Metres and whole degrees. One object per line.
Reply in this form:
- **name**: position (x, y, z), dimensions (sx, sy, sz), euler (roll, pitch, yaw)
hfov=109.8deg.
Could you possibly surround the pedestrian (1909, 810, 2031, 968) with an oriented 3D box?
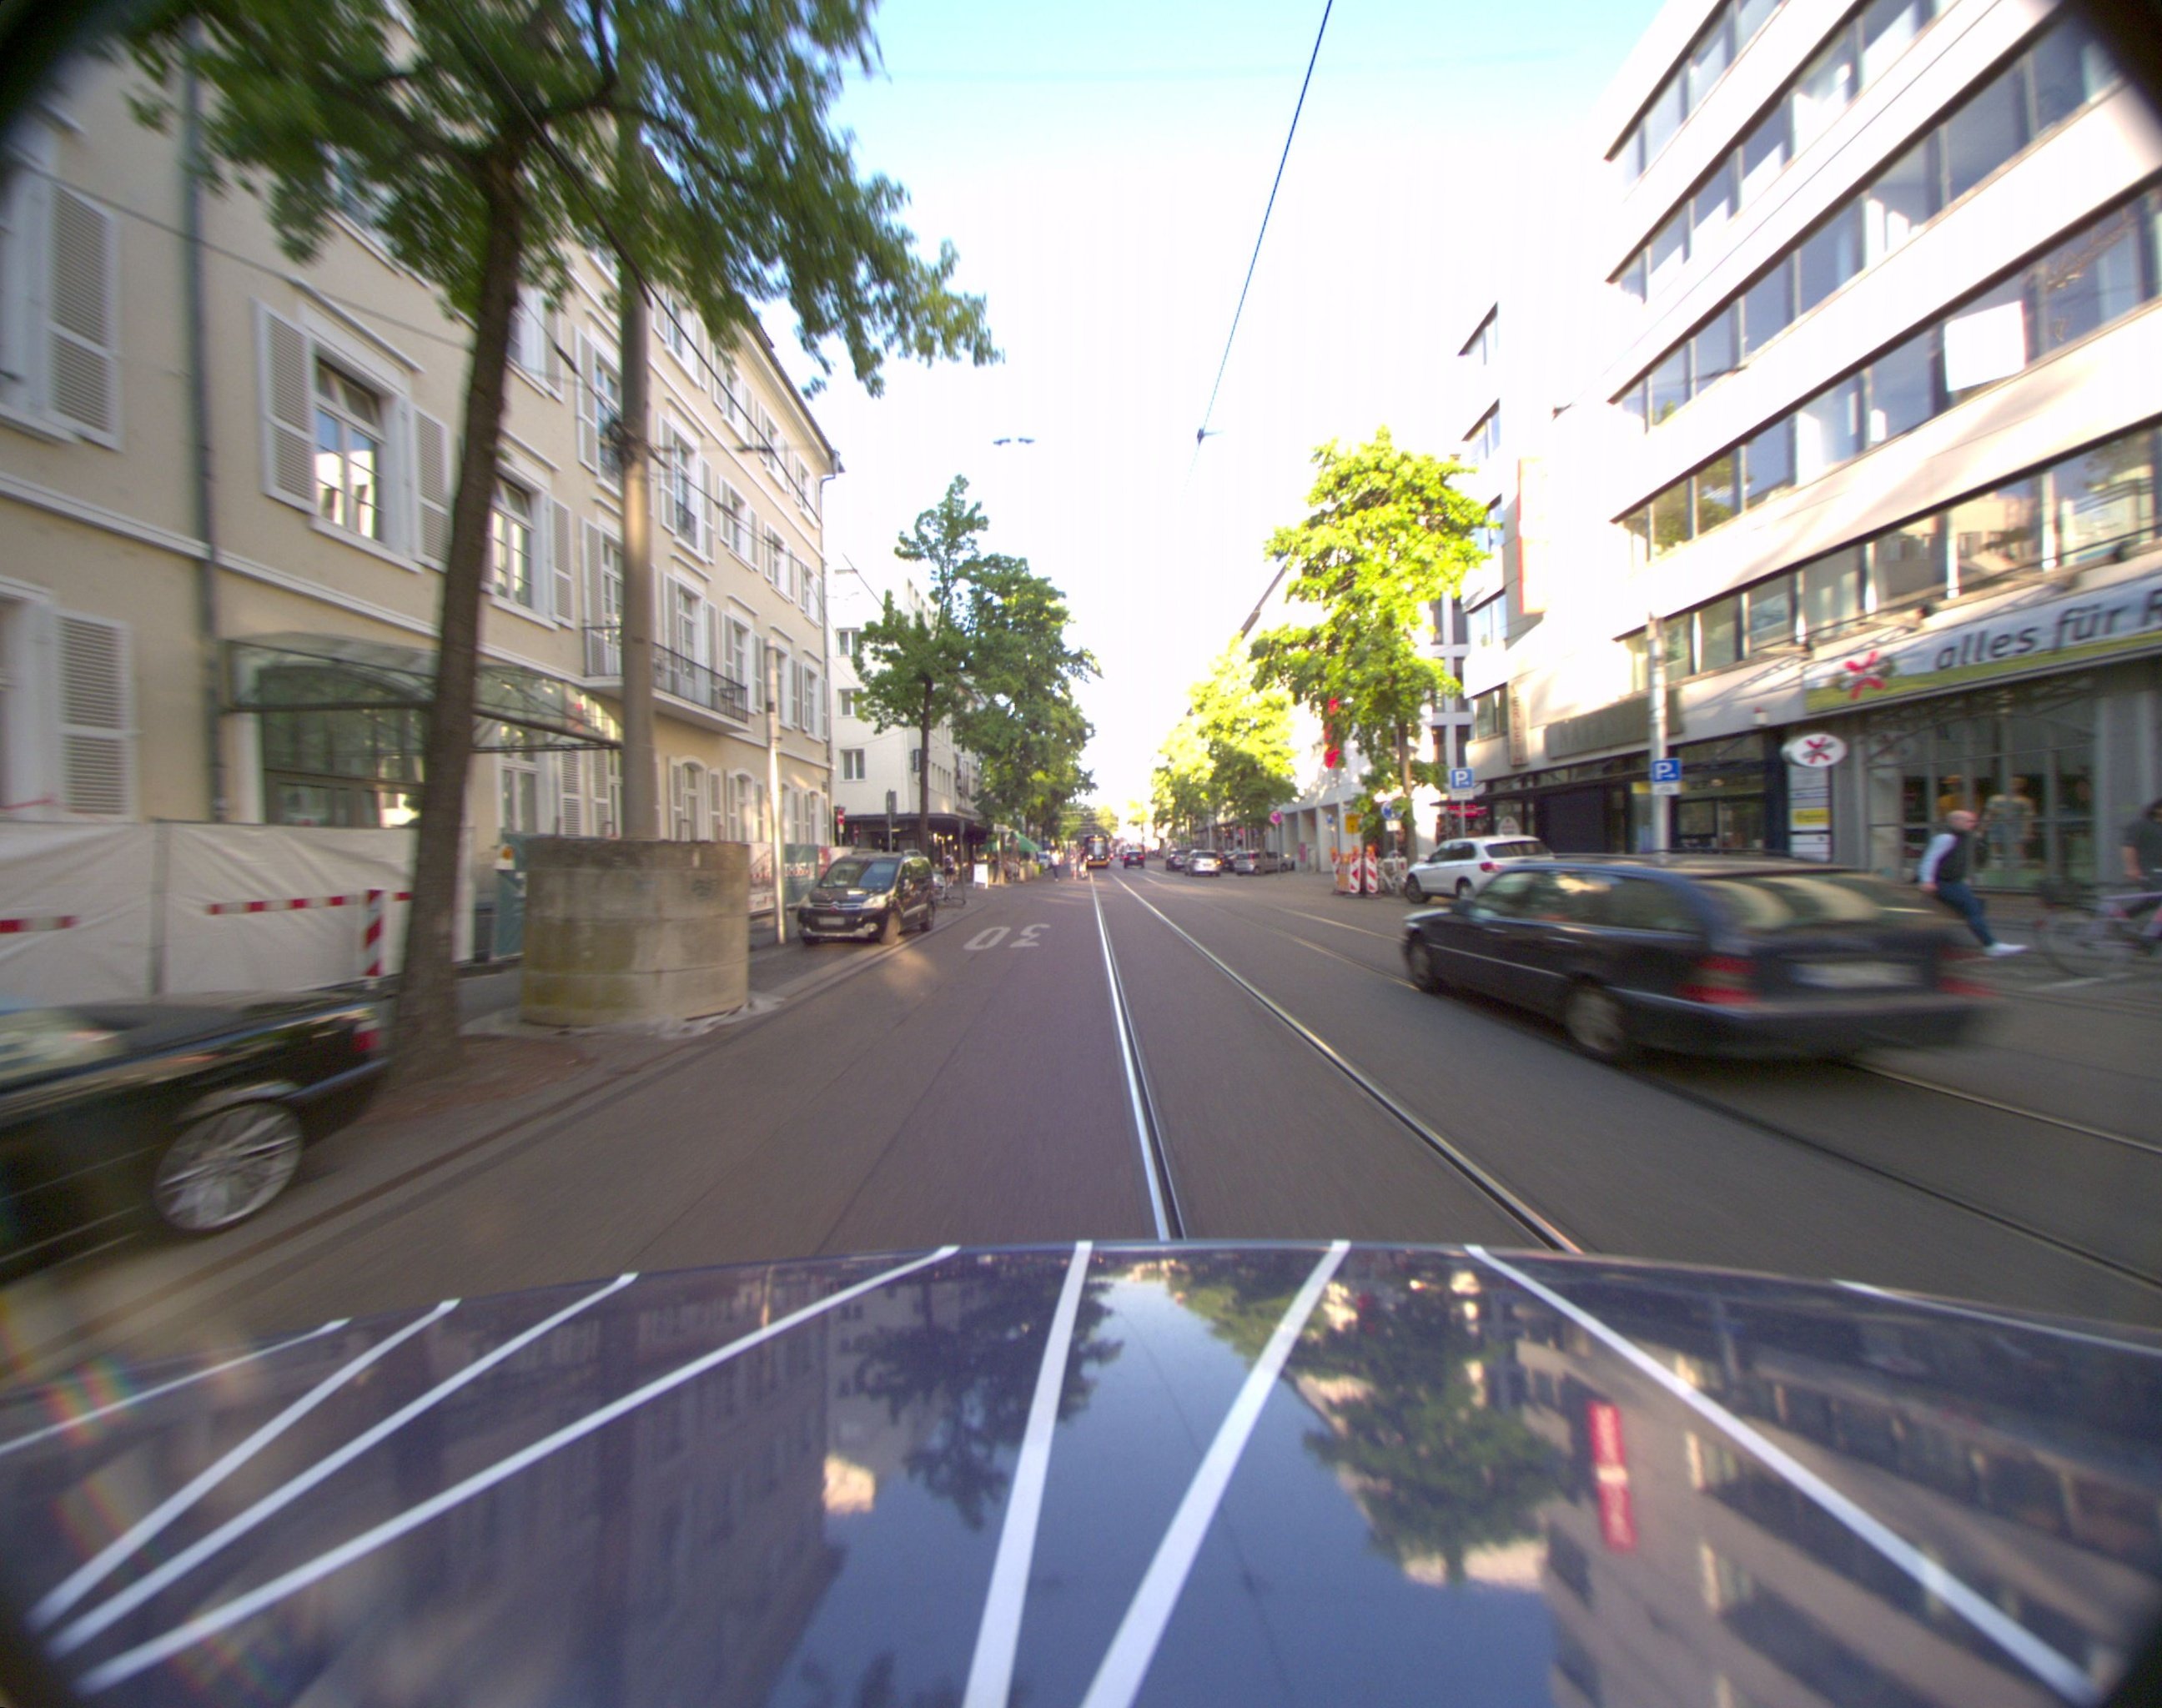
- **pedestrian**: position (10.500, 0.386, 9.015), dimensions (0.829, 1.756, 0.855), euler (-1, 1, 43)

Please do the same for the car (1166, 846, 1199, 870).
- **car**: position (7.968, 0.285, 59.881), dimensions (2.039, 1.796, 4.200), euler (-1, 0, 0)

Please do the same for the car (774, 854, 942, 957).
- **car**: position (-4.346, 0.908, 15.610), dimensions (1.956, 1.782, 4.316), euler (0, 1, 4)

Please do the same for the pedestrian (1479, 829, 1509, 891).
- **pedestrian**: position (13.574, 0.193, 24.995), dimensions (0.616, 2.002, 0.592), euler (-2, 1, -1)

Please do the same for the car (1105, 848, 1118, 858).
- **car**: position (5.887, -0.245, 148.105), dimensions (2.218, 1.849, 3.999), euler (-2, 0, -1)

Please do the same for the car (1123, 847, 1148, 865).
- **car**: position (5.235, 0.183, 73.499), dimensions (2.039, 1.677, 4.200), euler (-2, 0, 0)

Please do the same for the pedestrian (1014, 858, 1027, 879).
- **pedestrian**: position (-3.835, 0.916, 47.912), dimensions (0.716, 1.321, 0.624), euler (-2, 1, 2)

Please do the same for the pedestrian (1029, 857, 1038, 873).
- **pedestrian**: position (-4.017, 0.921, 64.525), dimensions (0.716, 1.321, 0.624), euler (-2, 1, 2)

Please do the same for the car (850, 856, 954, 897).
- **car**: position (-7.819, 0.973, 33.384), dimensions (3.937, 1.600, 1.867), euler (-2, 2, 7)

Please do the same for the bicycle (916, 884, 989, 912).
- **bicycle**: position (-4.048, 1.371, 24.125), dimensions (1.753, 0.744, 1.566), euler (0, 1, 18)

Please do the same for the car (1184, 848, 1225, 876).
- **car**: position (7.614, 0.474, 47.207), dimensions (1.889, 1.602, 4.200), euler (0, 0, 0)

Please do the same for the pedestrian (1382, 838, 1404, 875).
- **pedestrian**: position (14.439, 0.116, 35.179), dimensions (0.725, 1.636, 0.611), euler (-2, 1, 2)

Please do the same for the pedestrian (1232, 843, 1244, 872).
- **pedestrian**: position (10.674, 0.232, 51.740), dimensions (0.656, 1.922, 0.723), euler (-1, 1, 2)

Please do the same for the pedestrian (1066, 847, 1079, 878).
- **pedestrian**: position (-0.503, 0.517, 46.563), dimensions (0.672, 1.922, 0.873), euler (-1, 1, 2)

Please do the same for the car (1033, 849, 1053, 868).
- **car**: position (-3.856, 0.384, 77.724), dimensions (2.003, 1.831, 4.966), euler (0, 1, -3)

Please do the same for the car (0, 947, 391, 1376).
- **car**: position (-4.699, 1.182, 1.987), dimensions (1.798, 1.304, 4.329), euler (0, 1, 1)

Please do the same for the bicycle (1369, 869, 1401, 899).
- **bicycle**: position (9.611, 0.935, 24.032), dimensions (0.503, 0.832, 1.535), euler (-4, 1, 6)

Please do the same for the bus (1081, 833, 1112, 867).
- **bus**: position (1.933, -0.507, 98.948), dimensions (3.616, 3.974, 17.482), euler (-2, 0, 1)

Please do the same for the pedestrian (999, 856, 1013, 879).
- **pedestrian**: position (-4.518, 0.814, 45.976), dimensions (0.716, 1.321, 0.624), euler (-2, 1, 2)

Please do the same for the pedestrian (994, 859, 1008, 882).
- **pedestrian**: position (-4.702, 0.976, 44.861), dimensions (0.716, 1.321, 0.624), euler (-2, 1, 2)

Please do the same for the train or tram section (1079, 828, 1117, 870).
- **train or tram section**: position (1.770, -0.472, 82.460), dimensions (3.607, 3.974, 15.715), euler (-2, 0, 1)

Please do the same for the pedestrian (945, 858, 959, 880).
- **pedestrian**: position (-7.870, 0.924, 46.375), dimensions (0.716, 1.321, 0.624), euler (-2, 1, 2)

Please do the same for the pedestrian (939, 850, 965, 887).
- **pedestrian**: position (-6.490, 0.711, 38.263), dimensions (0.945, 1.805, 1.071), euler (-2, 3, 8)

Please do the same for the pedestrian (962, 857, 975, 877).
- **pedestrian**: position (-7.761, 0.912, 52.461), dimensions (0.716, 1.321, 0.624), euler (-2, 1, 2)

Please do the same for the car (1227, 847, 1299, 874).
- **car**: position (11.898, 0.388, 49.780), dimensions (4.320, 1.404, 1.576), euler (-5, 2, -17)

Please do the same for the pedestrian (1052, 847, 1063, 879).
- **pedestrian**: position (-1.433, 0.541, 46.591), dimensions (0.598, 1.922, 0.873), euler (-1, 1, 2)

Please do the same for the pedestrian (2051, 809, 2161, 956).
- **pedestrian**: position (12.991, 0.320, 9.293), dimensions (0.834, 1.685, 1.037), euler (-4, 1, 1)

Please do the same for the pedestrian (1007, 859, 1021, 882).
- **pedestrian**: position (-3.959, 0.957, 44.822), dimensions (0.716, 1.321, 0.624), euler (-2, 1, 2)

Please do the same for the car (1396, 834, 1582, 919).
- **car**: position (9.906, 0.491, 18.976), dimensions (1.998, 1.744, 4.744), euler (-4, 0, 0)

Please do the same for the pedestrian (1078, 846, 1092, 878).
- **pedestrian**: position (0.244, 0.497, 46.275), dimensions (0.772, 1.922, 0.873), euler (-1, 1, 2)

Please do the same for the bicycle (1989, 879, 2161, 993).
- **bicycle**: position (10.351, 0.800, 7.581), dimensions (1.748, 0.986, 0.478), euler (-5, 0, 8)

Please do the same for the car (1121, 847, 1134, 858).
- **car**: position (8.123, -0.305, 132.241), dimensions (1.999, 1.871, 4.000), euler (-2, 0, -1)

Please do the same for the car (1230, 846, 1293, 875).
- **car**: position (11.186, 0.398, 46.991), dimensions (3.405, 1.551, 1.785), euler (-5, 2, -31)

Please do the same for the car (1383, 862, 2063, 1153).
- **car**: position (4.250, 0.830, 6.227), dimensions (1.783, 1.399, 4.527), euler (-2, 0, 1)
